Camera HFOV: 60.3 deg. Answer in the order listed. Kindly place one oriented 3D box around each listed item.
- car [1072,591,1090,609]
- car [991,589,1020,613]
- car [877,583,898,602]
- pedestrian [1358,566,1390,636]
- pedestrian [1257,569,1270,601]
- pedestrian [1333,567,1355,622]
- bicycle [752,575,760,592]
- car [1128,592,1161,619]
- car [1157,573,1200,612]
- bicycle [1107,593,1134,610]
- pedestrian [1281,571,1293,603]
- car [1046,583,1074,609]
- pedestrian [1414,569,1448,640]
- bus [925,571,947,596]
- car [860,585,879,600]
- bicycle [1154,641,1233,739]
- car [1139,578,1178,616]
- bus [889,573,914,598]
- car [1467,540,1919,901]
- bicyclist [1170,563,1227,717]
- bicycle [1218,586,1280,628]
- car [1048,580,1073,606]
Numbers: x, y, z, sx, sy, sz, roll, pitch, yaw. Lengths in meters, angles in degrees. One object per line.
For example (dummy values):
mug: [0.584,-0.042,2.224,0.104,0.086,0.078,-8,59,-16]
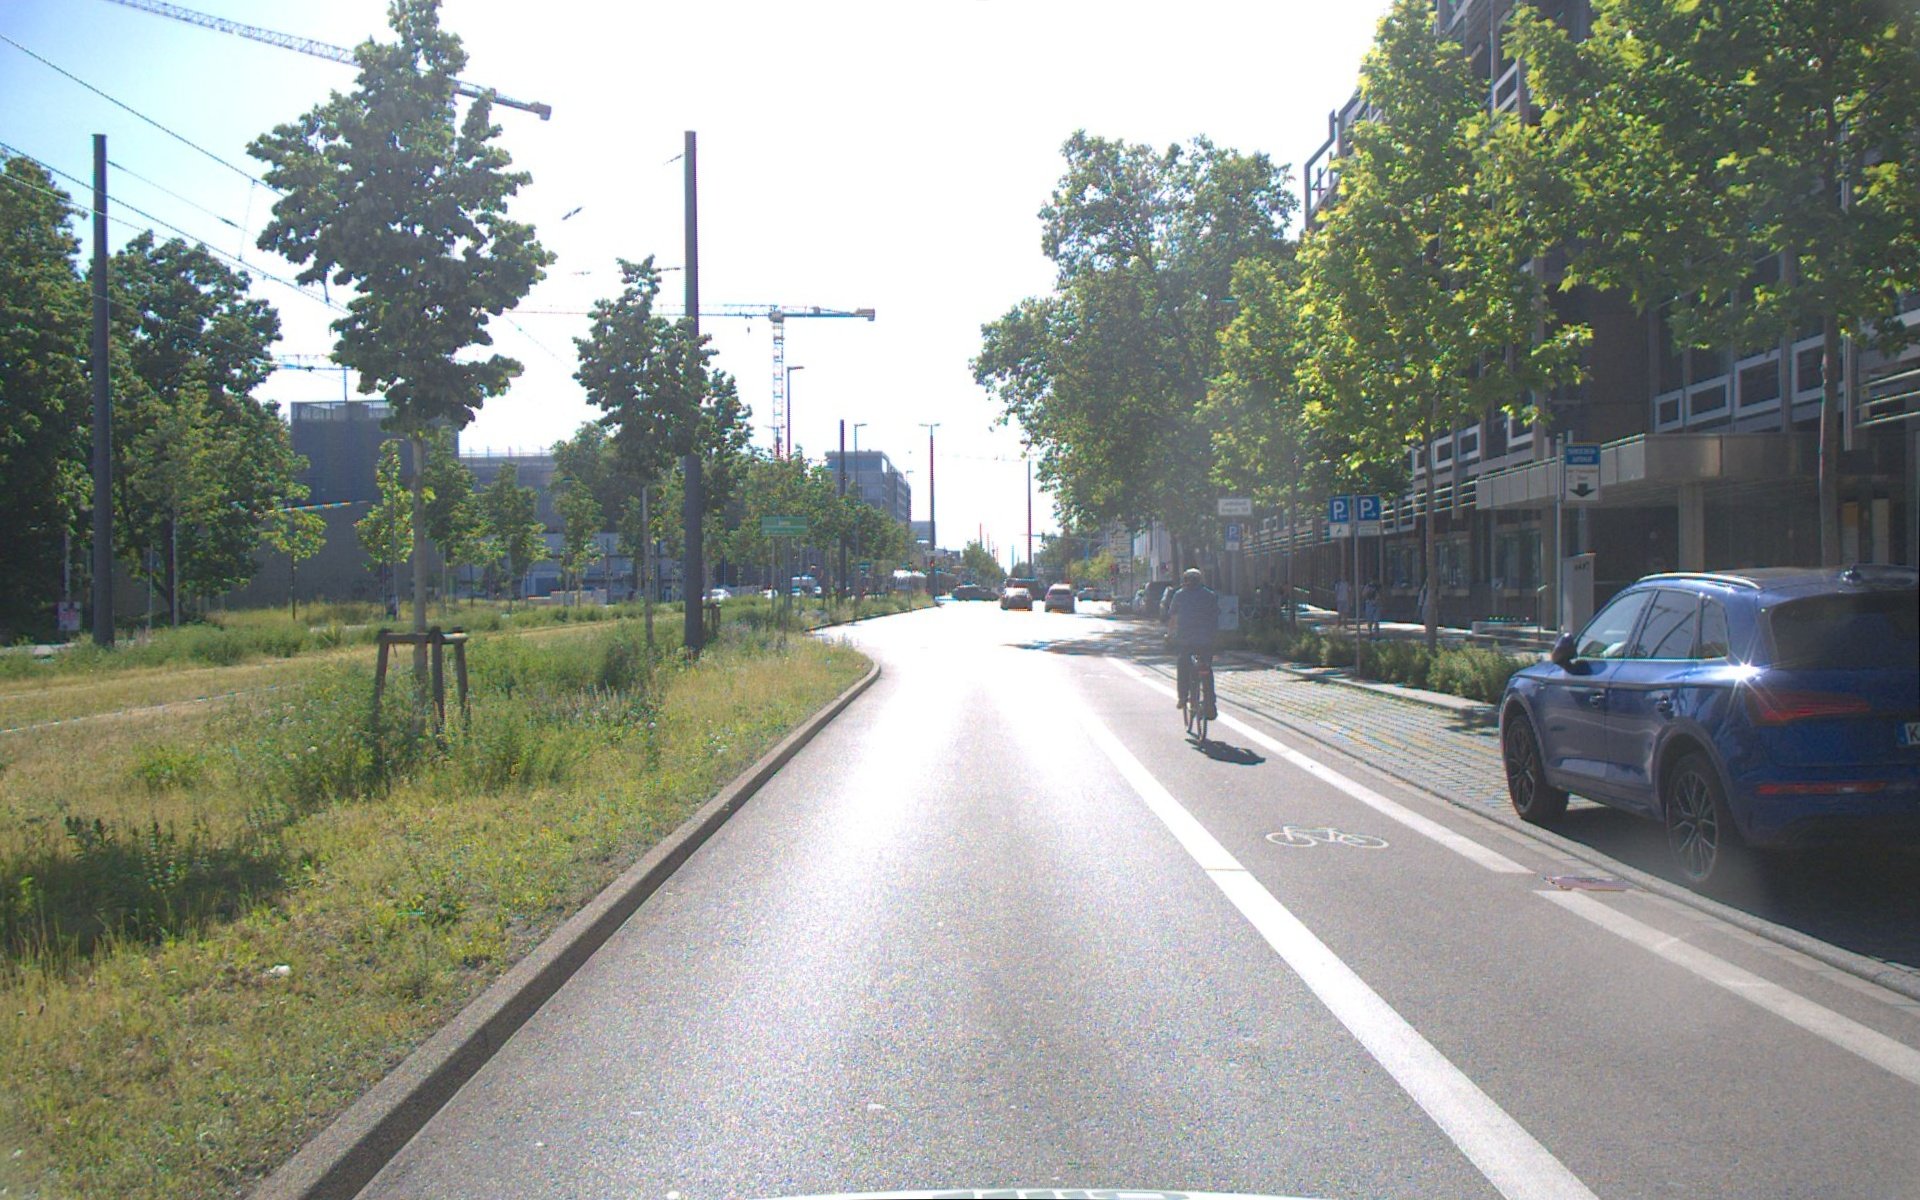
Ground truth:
car: [12.400,0.007,169.338,1.628,1.678,3.701,2,0,1]
car: [3.056,0.067,110.266,1.872,1.512,4.011,0,1,2]
car: [-7.476,-0.795,170.650,1.858,1.847,4.000,2,0,0]
pedestrian: [10.496,0.014,41.939,0.634,1.758,0.803,0,0,2]
pedestrian: [15.410,-0.783,83.982,0.495,1.612,0.634,0,0,-6]
pedestrian: [12.300,-0.185,53.015,0.500,1.730,0.774,-2,0,2]
bicycle: [-17.707,-1.402,143.532,0.352,1.480,1.914,0,1,3]
car: [10.853,0.278,97.491,1.668,1.518,4.602,0,1,3]
car: [9.645,-0.345,73.350,1.668,1.672,4.639,0,1,5]
bicycle: [10.274,0.089,105.823,1.659,0.974,0.478,-2,0,-1]
pedestrian: [16.666,-0.680,84.256,0.542,1.631,0.573,0,0,3]
car: [6.434,-0.292,106.415,1.685,1.646,4.189,0,1,5]
pedestrian: [10.121,0.093,35.527,0.500,1.500,0.736,-2,0,2]
bus: [-3.158,-2.177,218.830,2.574,3.011,9.899,2,0,0]
car: [-7.751,-0.604,141.733,1.348,1.199,3.221,2,0,2]
bicycle: [2.528,0.952,18.080,0.487,0.921,2.196,1,0,-2]
car: [10.147,-0.172,84.812,1.668,1.821,4.194,-2,1,3]
bus: [-7.152,-1.730,201.937,2.574,2.831,8.844,2,0,0]
car: [4.812,0.527,10.265,1.811,1.685,4.848,-2,0,0]
bicyclist: [2.558,0.421,17.766,0.502,1.629,0.536,0,0,-2]
bicycle: [9.576,0.228,54.901,1.897,1.258,0.579,-3,0,0]
car: [7.267,-0.540,120.005,1.686,1.814,4.187,0,1,1]
